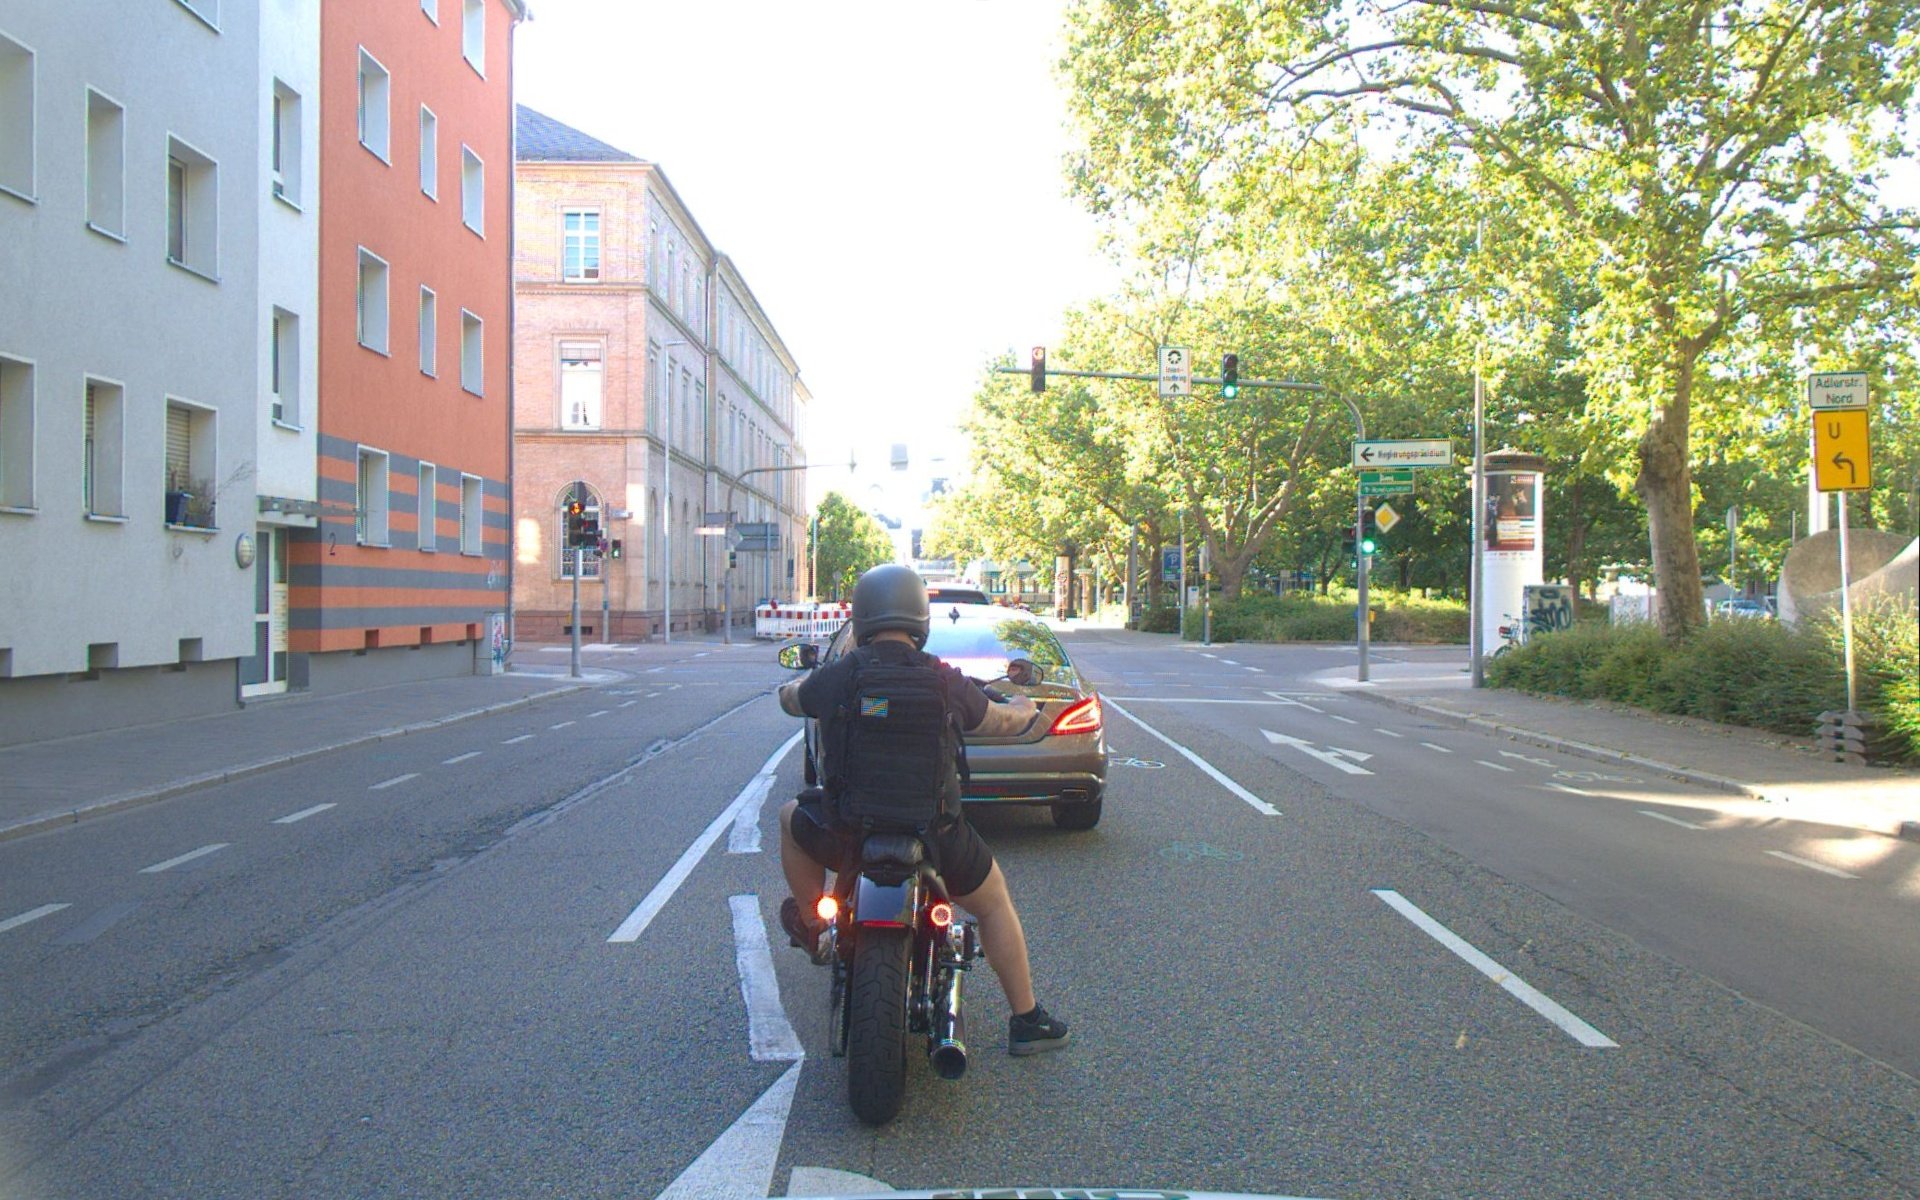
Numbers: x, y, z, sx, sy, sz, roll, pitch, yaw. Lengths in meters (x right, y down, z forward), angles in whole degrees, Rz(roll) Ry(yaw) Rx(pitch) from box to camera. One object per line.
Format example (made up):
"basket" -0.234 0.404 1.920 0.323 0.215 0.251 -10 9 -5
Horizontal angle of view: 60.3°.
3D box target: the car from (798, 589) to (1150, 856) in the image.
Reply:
"car" -0.116 0.678 11.576 1.909 1.498 4.355 0 0 -7

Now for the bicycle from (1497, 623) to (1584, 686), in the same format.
"bicycle" 9.740 0.917 27.769 1.324 1.041 0.363 0 0 0

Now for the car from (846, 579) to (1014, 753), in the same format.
"car" -0.338 0.612 17.739 1.580 1.636 4.327 0 0 -2

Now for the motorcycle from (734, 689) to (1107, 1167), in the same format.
"motorcycle" -0.120 0.919 5.536 0.969 1.097 2.451 0 0 -1

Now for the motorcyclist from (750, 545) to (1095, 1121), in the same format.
"motorcyclist" -0.115 0.656 5.381 0.969 1.625 1.403 0 0 -1
